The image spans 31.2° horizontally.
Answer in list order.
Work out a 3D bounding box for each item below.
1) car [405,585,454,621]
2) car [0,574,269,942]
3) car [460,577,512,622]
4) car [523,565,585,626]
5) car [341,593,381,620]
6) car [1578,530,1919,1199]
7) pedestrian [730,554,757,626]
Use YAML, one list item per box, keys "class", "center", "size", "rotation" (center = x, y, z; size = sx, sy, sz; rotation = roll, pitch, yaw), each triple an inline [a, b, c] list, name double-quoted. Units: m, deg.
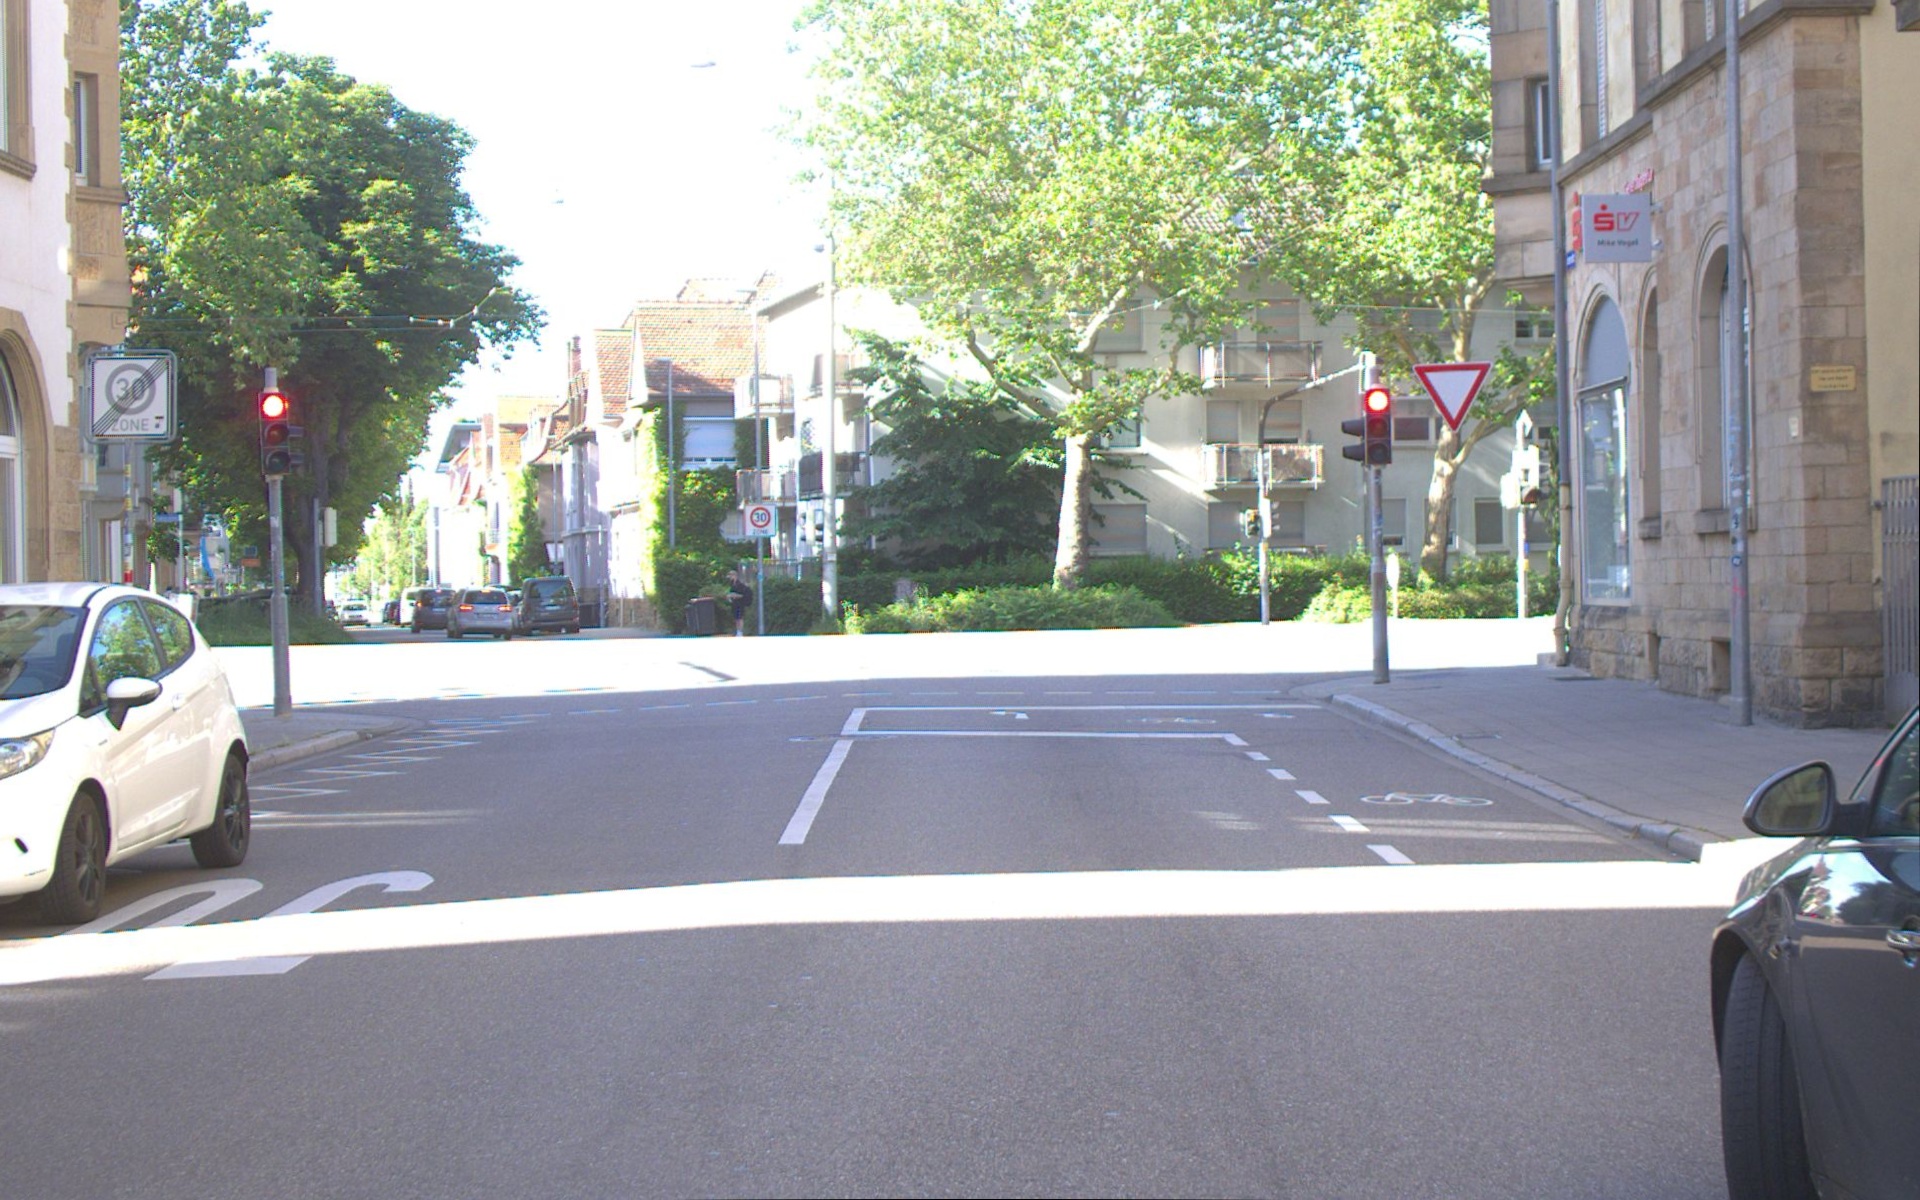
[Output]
- class: "car"
  center: [-21.272, 0.118, 137.793]
  size: [1.737, 1.332, 3.835]
  rotation: [-1, 1, -12]
- class: "car"
  center: [-4.457, 0.633, 15.772]
  size: [1.634, 1.459, 3.734]
  rotation: [-1, 1, 3]
- class: "car"
  center: [-15.727, -0.009, 114.023]
  size: [1.673, 1.477, 3.523]
  rotation: [0, 0, -9]
- class: "car"
  center: [-14.059, -0.177, 118.954]
  size: [1.993, 2.007, 4.001]
  rotation: [-1, 1, -8]
- class: "car"
  center: [-33.940, 0.353, 194.684]
  size: [1.993, 1.441, 4.001]
  rotation: [-2, 1, -13]
- class: "car"
  center: [2.374, 0.602, 5.673]
  size: [1.865, 1.457, 4.340]
  rotation: [-2, 1, 0]
- class: "pedestrian"
  center: [-5.290, -0.251, 84.127]
  size: [0.633, 1.744, 0.659]
  rotation: [0, 0, -2]
